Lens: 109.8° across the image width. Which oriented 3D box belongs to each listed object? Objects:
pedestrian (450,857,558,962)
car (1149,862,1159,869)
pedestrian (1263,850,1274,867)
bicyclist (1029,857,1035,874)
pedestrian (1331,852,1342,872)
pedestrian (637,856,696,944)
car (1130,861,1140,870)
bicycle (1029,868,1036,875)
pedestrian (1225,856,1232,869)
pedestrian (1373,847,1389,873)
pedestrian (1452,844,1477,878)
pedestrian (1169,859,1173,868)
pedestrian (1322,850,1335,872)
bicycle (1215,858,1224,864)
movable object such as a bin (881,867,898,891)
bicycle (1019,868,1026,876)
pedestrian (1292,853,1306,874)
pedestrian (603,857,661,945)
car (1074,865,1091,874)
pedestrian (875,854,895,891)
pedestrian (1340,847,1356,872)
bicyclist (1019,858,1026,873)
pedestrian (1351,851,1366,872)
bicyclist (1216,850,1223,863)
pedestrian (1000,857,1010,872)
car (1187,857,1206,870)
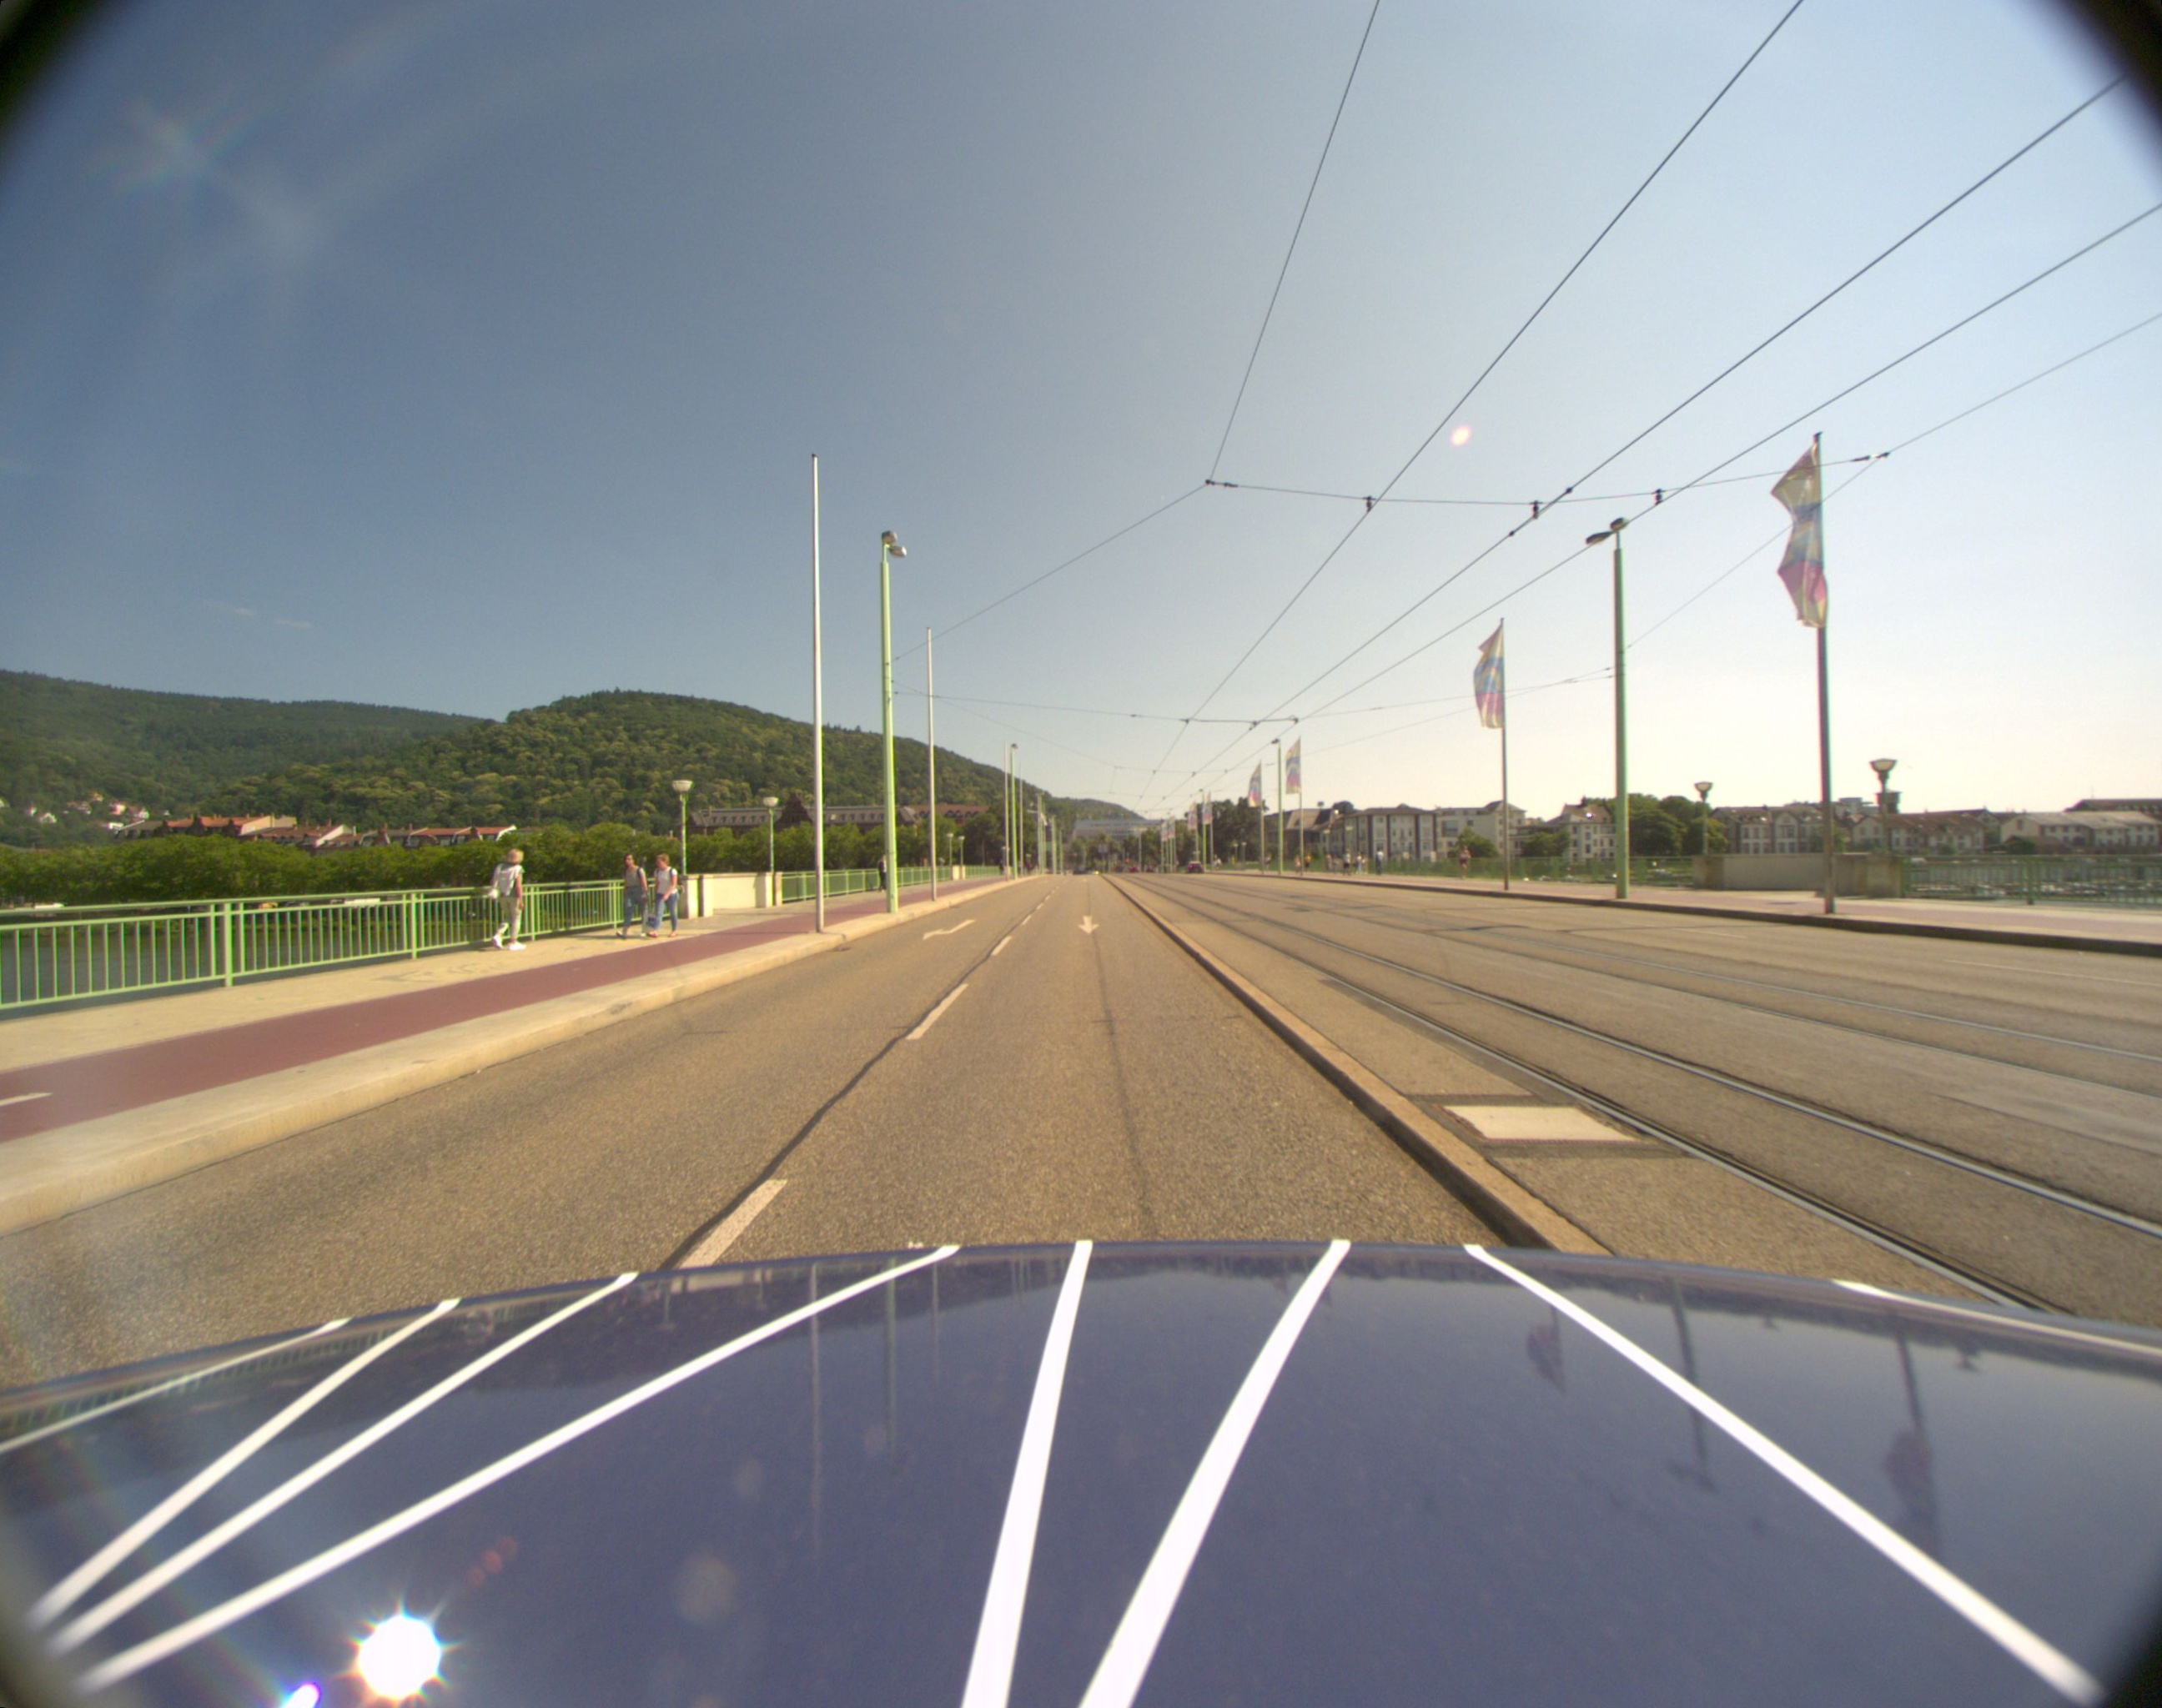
[{"bbox_3d":[-9.506,0.883,12.571,0.950,1.653,1.082,0,0,0],"label":"pedestrian"},{"bbox_3d":[14.307,2.268,149.996,1.672,1.428,4.000,-1,1,1],"label":"car"},{"bbox_3d":[19.461,0.475,79.032,0.787,1.690,1.022,-3,0,0],"label":"pedestrian"},{"bbox_3d":[-5.249,1.241,82.056,0.587,1.759,0.672,0,0,1],"label":"bicyclist"},{"bbox_3d":[19.334,0.594,57.522,0.547,1.429,0.789,-3,0,0],"label":"pedestrian"},{"bbox_3d":[-7.980,0.869,14.670,0.664,1.649,0.825,0,1,0],"label":"pedestrian"},{"bbox_3d":[10.913,2.352,155.002,1.714,1.686,4.000,-5,0,1],"label":"car"},{"bbox_3d":[-5.249,1.870,82.002,0.595,0.761,1.866,0,0,1],"label":"bicycle"},{"bbox_3d":[20.843,1.173,107.221,0.592,1.689,0.905,-6,0,0],"label":"pedestrian"},{"bbox_3d":[19.714,0.407,49.984,0.592,1.690,1.022,-3,0,0],"label":"pedestrian"},{"bbox_3d":[19.379,0.363,38.417,0.686,1.680,1.022,-3,0,0],"label":"pedestrian"},{"bbox_3d":[18.519,1.956,156.443,0.787,1.690,1.022,-3,0,0],"label":"pedestrian"},{"bbox_3d":[18.680,0.536,57.329,0.627,1.590,1.022,-3,0,0],"label":"pedestrian"},{"bbox_3d":[17.694,0.929,97.084,0.667,0.712,2.173,-1,0,1],"label":"bicycle"},{"bbox_3d":[-9.182,1.185,36.391,0.583,1.084,0.933,0,0,0],"label":"movable object such as a bin"},{"bbox_3d":[-6.586,2.032,85.718,0.595,0.761,1.866,0,0,1],"label":"bicycle"},{"bbox_3d":[18.441,0.793,64.332,0.787,1.690,1.022,-3,0,0],"label":"pedestrian"},{"bbox_3d":[-8.684,0.888,14.728,0.669,1.649,0.746,0,1,0],"label":"pedestrian"},{"bbox_3d":[0.454,3.952,193.162,3.997,2.002,2.000,-6,0,-2],"label":"car"},{"bbox_3d":[-9.167,0.863,35.543,0.664,1.696,0.859,0,1,0],"label":"pedestrian"},{"bbox_3d":[18.165,0.384,51.771,0.671,1.690,1.022,-3,0,0],"label":"pedestrian"},{"bbox_3d":[-6.594,1.320,85.593,0.731,1.655,0.844,-2,0,1],"label":"bicyclist"},{"bbox_3d":[18.804,0.501,51.528,0.592,1.406,1.022,-3,0,0],"label":"pedestrian"},{"bbox_3d":[17.675,0.371,97.012,0.666,1.641,0.622,-1,0,1],"label":"bicyclist"},{"bbox_3d":[-8.683,1.203,86.842,0.950,1.653,1.082,1,0,0],"label":"pedestrian"},{"bbox_3d":[13.726,1.143,90.272,1.721,1.446,3.901,0,0,0],"label":"car"}]
